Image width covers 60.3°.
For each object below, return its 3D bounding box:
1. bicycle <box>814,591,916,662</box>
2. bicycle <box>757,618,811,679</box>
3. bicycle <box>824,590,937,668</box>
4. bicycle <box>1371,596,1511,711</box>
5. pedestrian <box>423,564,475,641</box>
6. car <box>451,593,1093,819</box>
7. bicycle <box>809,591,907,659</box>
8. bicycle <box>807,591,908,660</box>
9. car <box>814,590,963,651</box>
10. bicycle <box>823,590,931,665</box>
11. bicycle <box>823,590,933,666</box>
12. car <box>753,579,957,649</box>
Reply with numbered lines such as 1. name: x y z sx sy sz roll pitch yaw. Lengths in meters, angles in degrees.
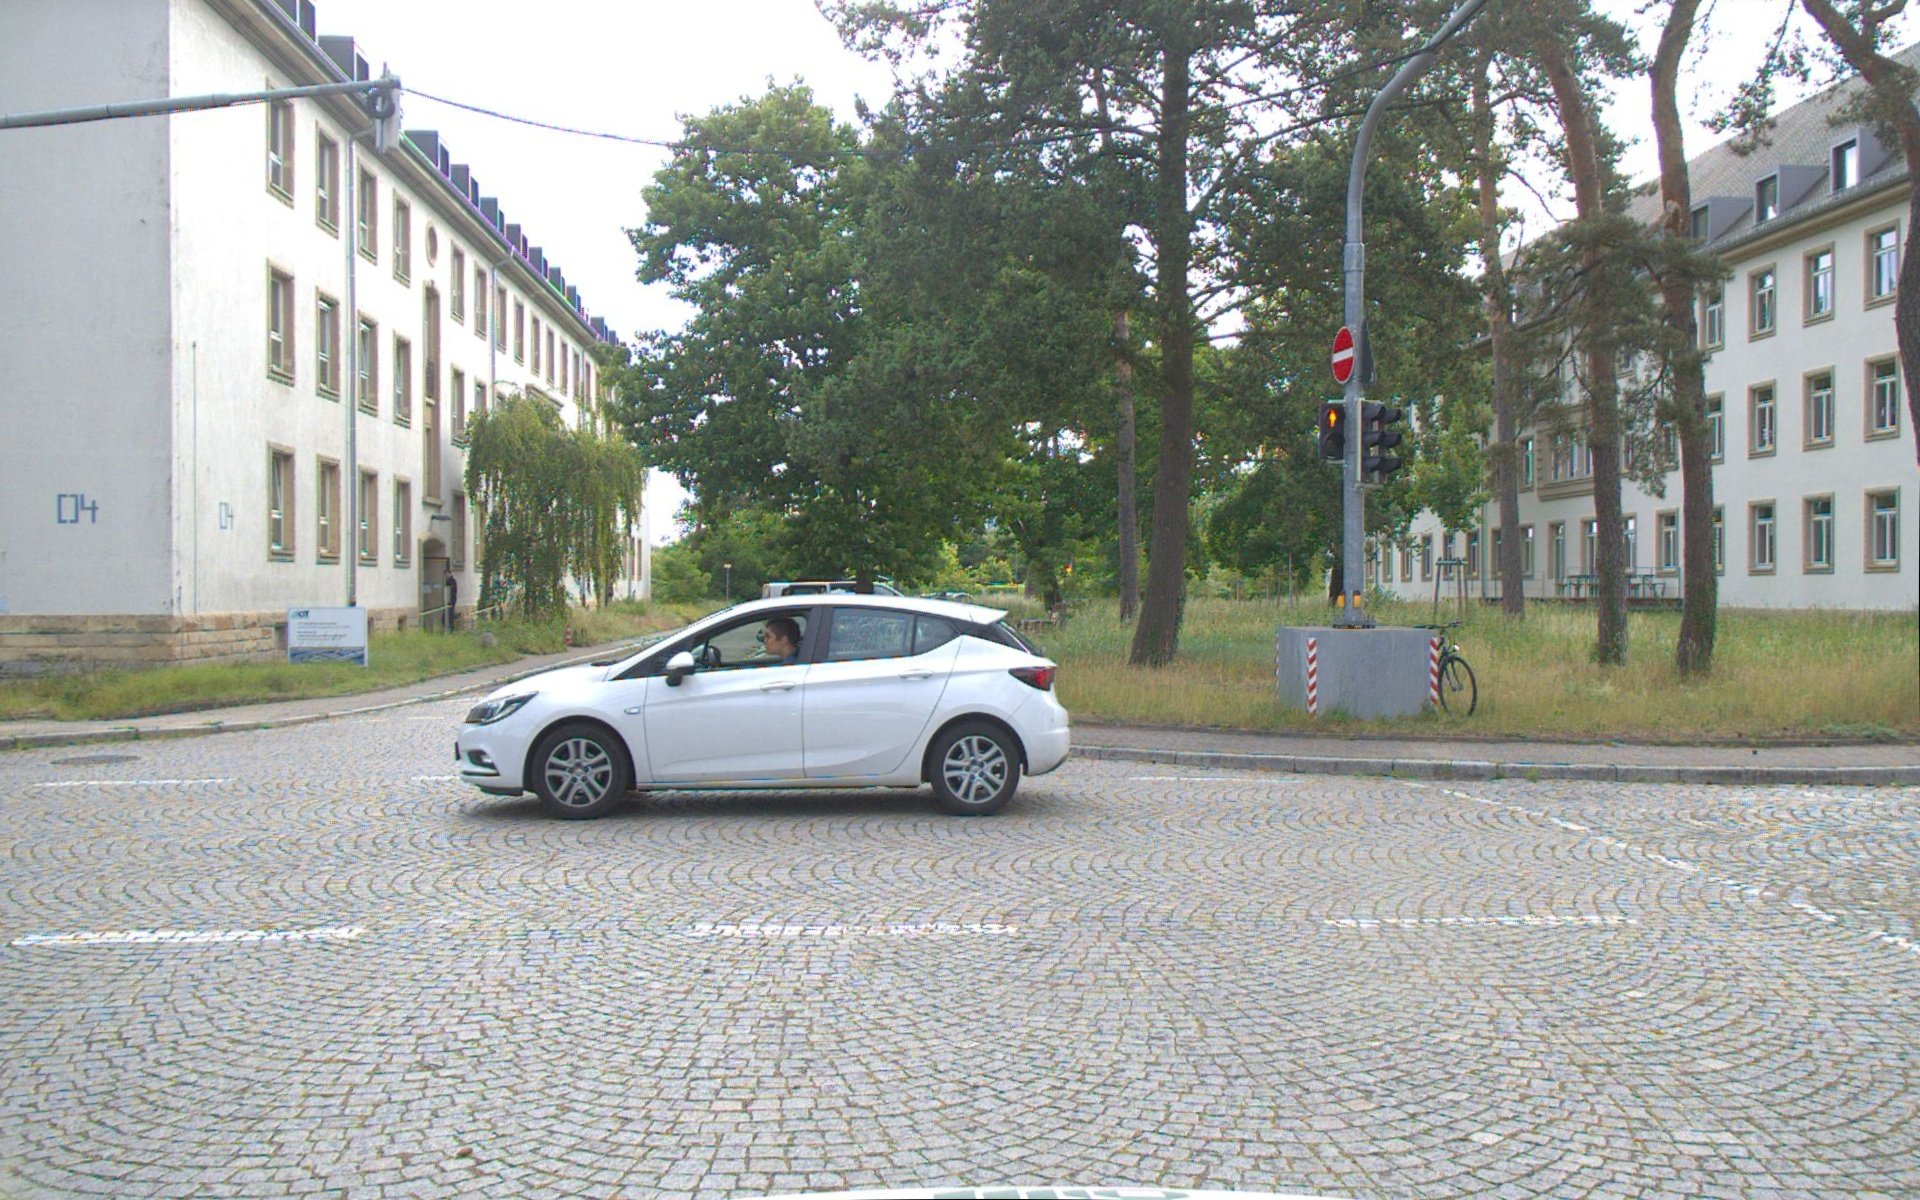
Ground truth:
1. bicycle: -1.894 0.517 33.038 2.028 1.402 0.619 0 0 -3
2. bicycle: -2.990 0.810 28.269 0.605 0.980 2.077 0 0 3
3. bicycle: -1.447 0.519 30.173 2.028 1.402 0.619 0 0 -3
4. bicycle: 5.297 0.558 18.338 0.891 1.197 1.872 0 0 -5
5. pedestrian: -13.823 0.059 44.743 1.064 2.049 1.022 0 0 1
6. car: -1.255 0.677 11.728 4.159 1.441 1.886 0 0 -4
7. bicycle: -2.124 0.518 34.510 2.028 1.402 0.619 0 0 -3
8. bicycle: -2.090 0.515 33.764 2.028 1.402 0.619 0 0 -3
9. car: -1.963 0.529 44.682 3.859 1.571 1.996 0 0 -9
10. bicycle: -1.577 0.521 31.462 2.028 1.402 0.619 0 0 -3
11. bicycle: -1.533 0.519 30.839 2.028 1.402 0.619 0 0 -3
12. car: -3.056 0.367 47.983 5.600 1.944 2.220 0 0 -16
